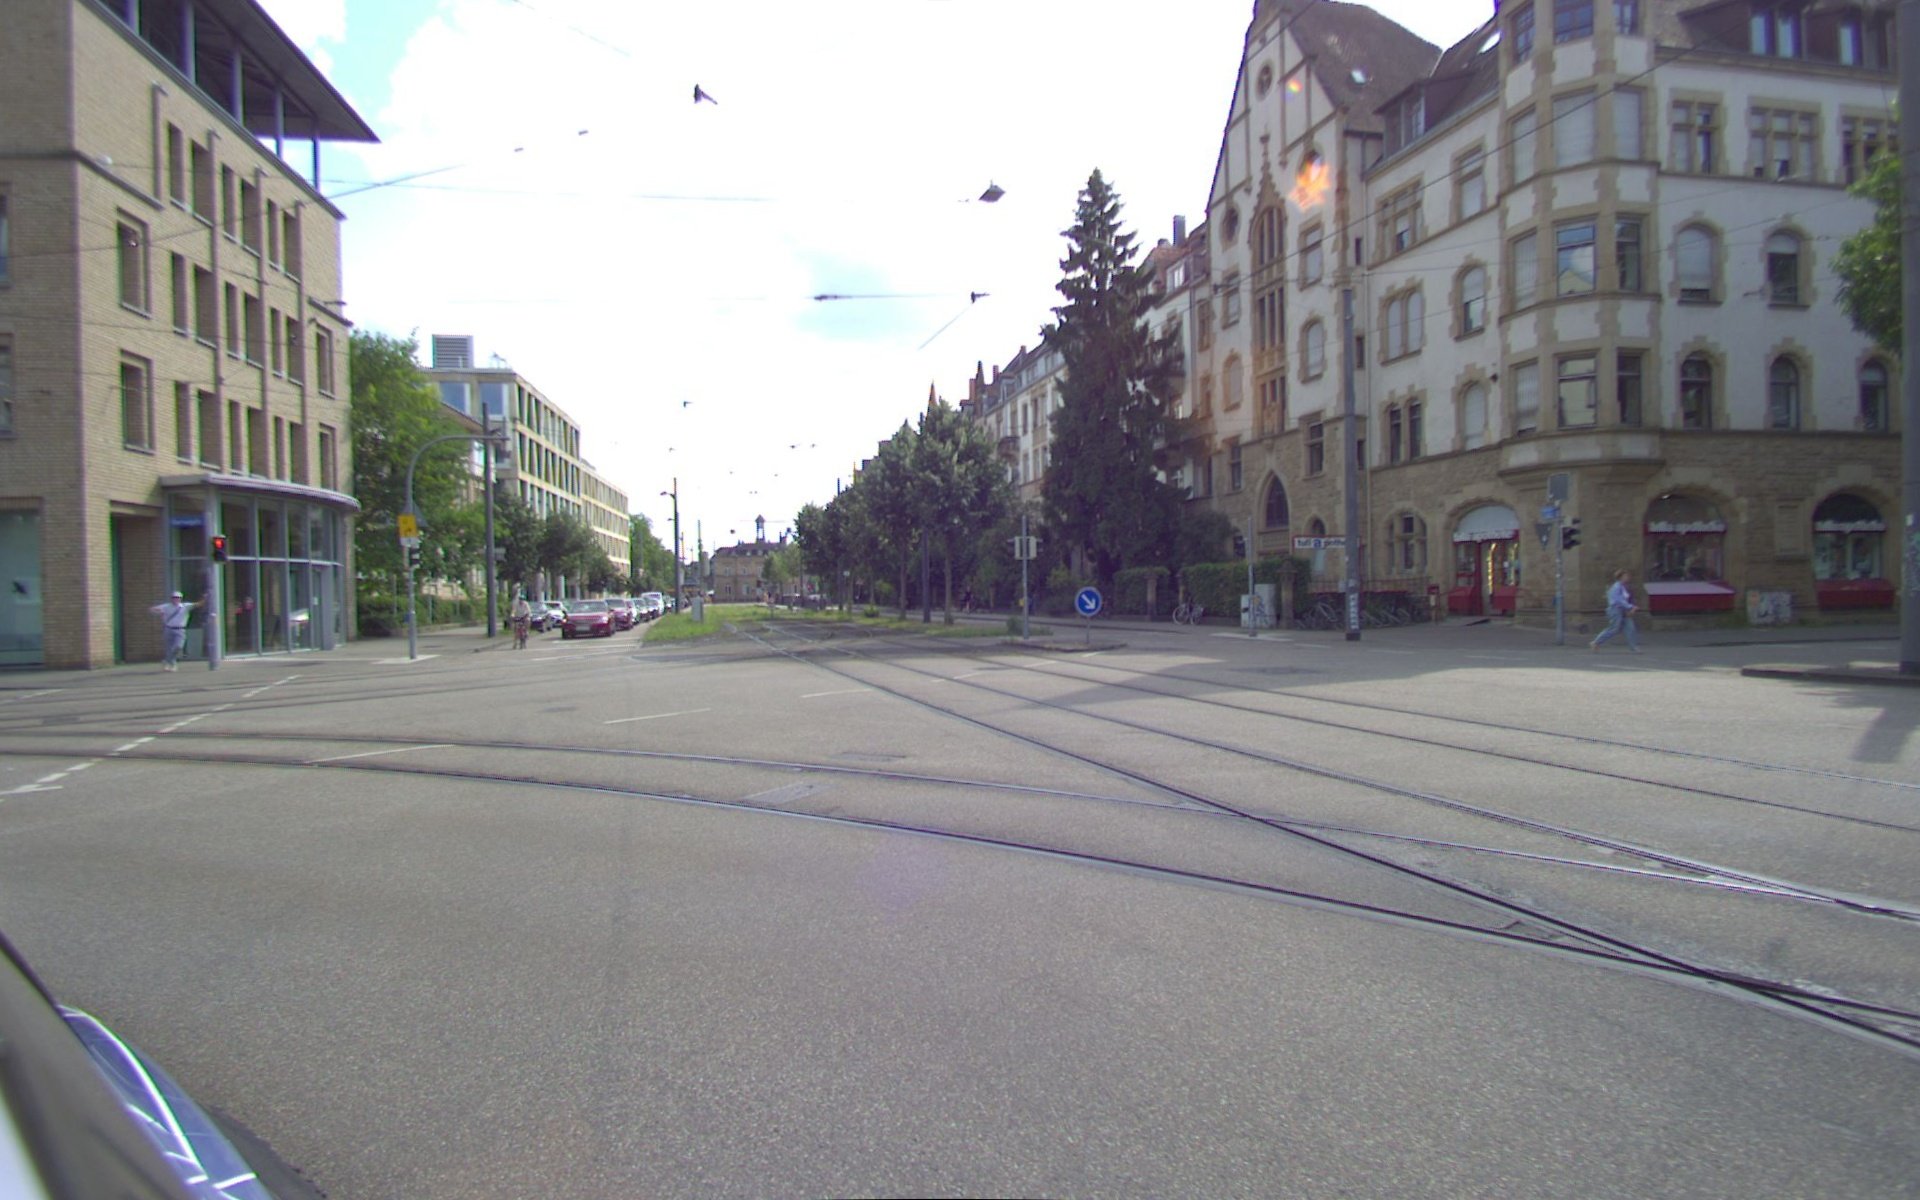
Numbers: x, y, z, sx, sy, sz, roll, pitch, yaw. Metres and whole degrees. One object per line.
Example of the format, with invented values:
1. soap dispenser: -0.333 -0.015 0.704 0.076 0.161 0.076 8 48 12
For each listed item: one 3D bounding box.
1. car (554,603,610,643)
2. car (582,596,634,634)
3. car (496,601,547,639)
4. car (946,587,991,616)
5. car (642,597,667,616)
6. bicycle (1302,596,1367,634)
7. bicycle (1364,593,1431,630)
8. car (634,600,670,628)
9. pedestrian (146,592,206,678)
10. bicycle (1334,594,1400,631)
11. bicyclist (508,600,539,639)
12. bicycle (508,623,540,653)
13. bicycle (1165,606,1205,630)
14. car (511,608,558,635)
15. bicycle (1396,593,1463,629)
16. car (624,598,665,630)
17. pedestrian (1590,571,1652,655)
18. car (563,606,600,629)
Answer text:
1. car: -14.340 0.840 38.537 1.858 1.386 4.013 -1 0 -19
2. car: -15.794 0.633 45.572 1.966 1.563 4.012 -1 0 -16
3. car: -20.105 0.876 46.500 1.858 1.584 4.013 -1 0 -19
4. car: 0.513 0.109 65.547 1.794 1.807 4.012 -1 -1 -16
5. car: -26.624 0.562 88.236 1.966 1.563 4.012 -1 0 -16
6. bicycle: 11.307 0.453 30.600 0.765 1.089 1.928 -1 -1 -20
7. bicycle: 13.547 0.362 31.422 0.765 1.089 1.928 -1 -1 -20
8. car: -18.106 0.798 59.591 1.966 1.563 4.012 -1 0 -16
9. pedestrian: -17.037 0.747 22.012 0.944 1.809 0.764 -1 0 -35
10. bicycle: 12.468 0.384 31.090 0.765 1.089 1.928 -1 -1 -20
11. bicyclist: -13.503 0.585 31.321 0.763 1.156 0.901 -1 0 -18
12. bicycle: -13.445 1.157 31.223 0.705 0.832 2.155 -1 0 -18
13. bicycle: 8.235 0.645 37.181 0.462 0.854 1.928 -1 -1 -20
14. car: -22.136 1.088 52.802 1.796 1.298 4.012 -1 0 -16
15. bicycle: 14.725 0.338 31.787 0.765 1.089 1.928 -1 -1 -20
16. car: -16.676 0.717 53.576 1.966 1.563 4.012 -1 0 -16
17. pedestrian: 13.980 0.268 21.399 1.022 1.735 0.766 -1 0 37
18. car: -23.301 1.031 62.381 1.796 1.298 4.012 -1 0 -16
